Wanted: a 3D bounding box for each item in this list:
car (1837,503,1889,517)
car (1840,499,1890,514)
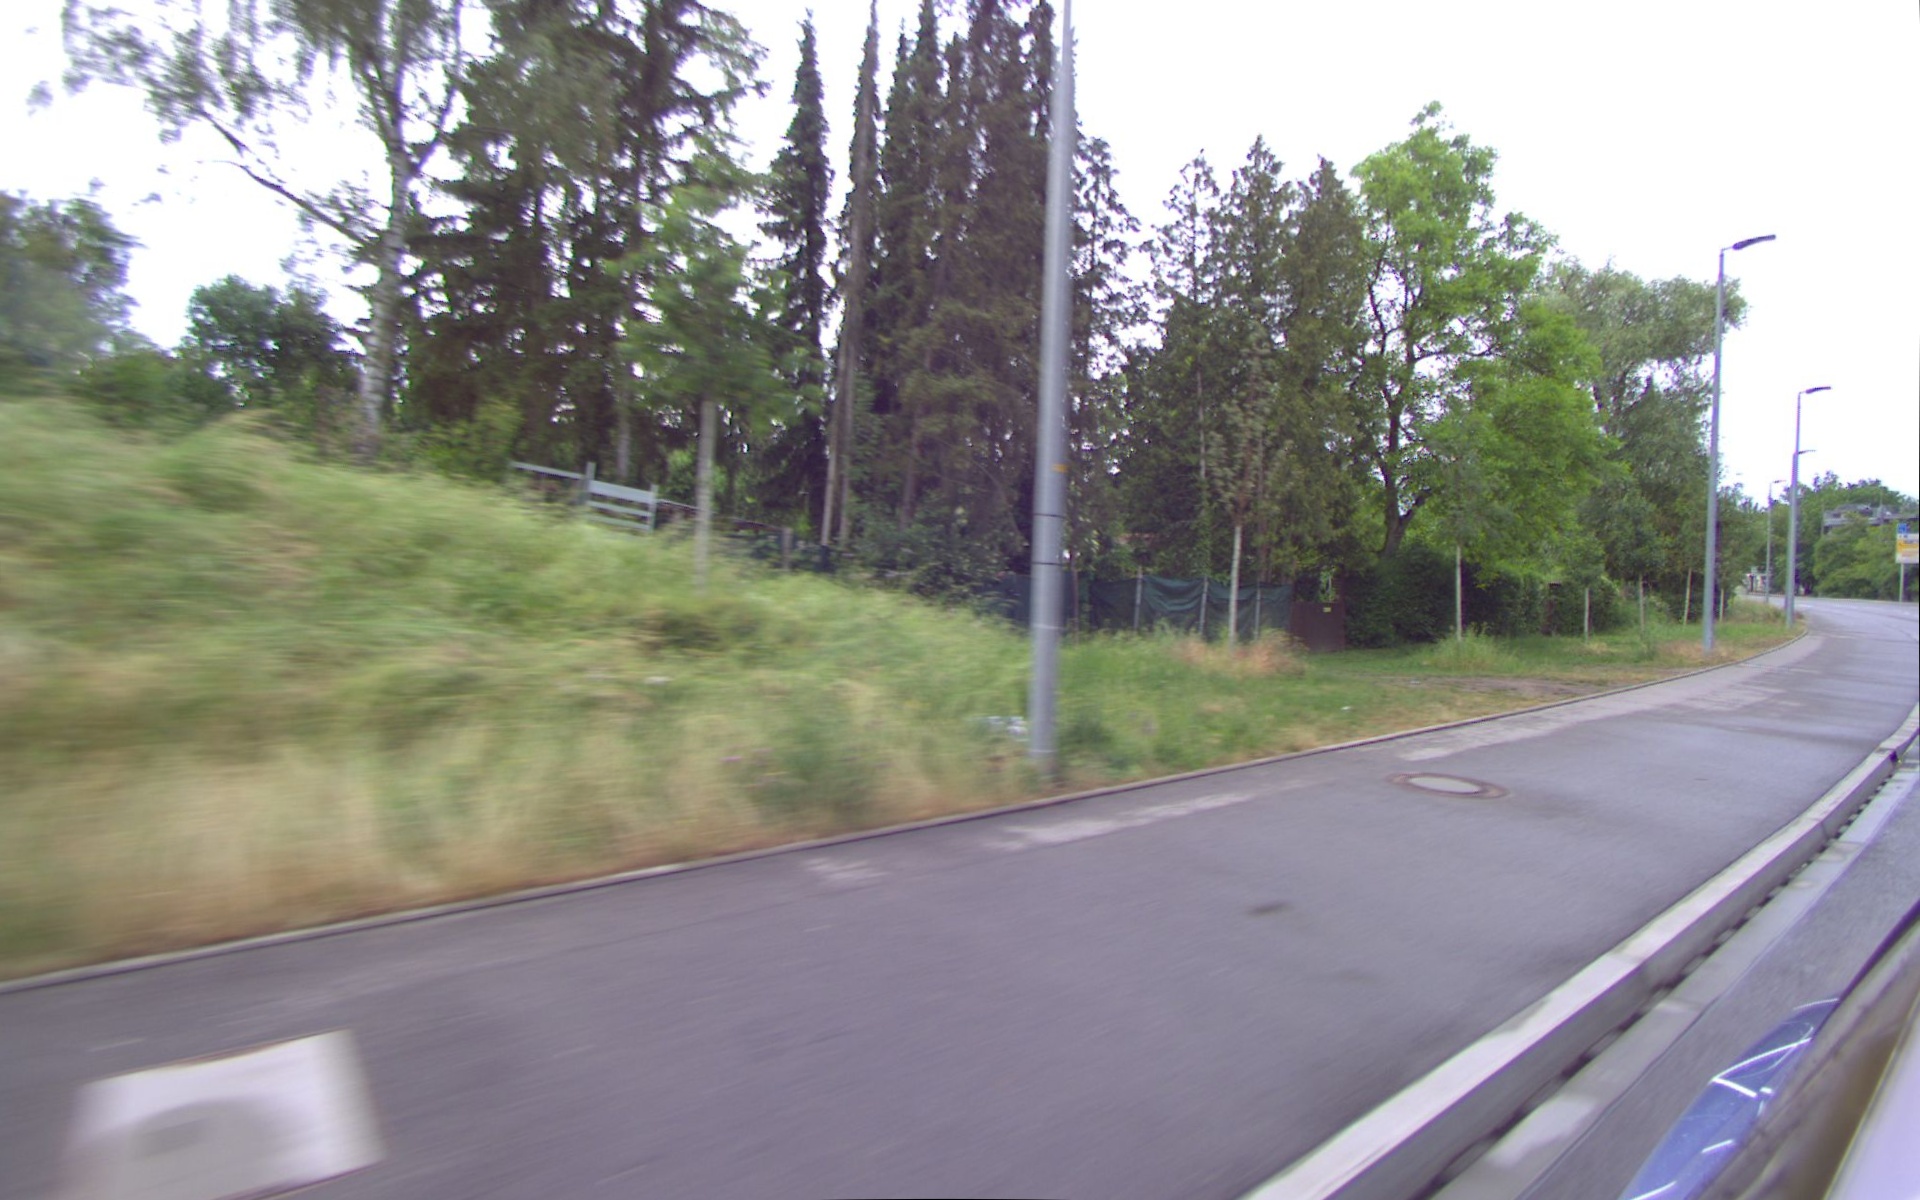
[{"bbox_3d":[102.084,-10.147,114.382,1.962,1.537,4.001,0,4,-36],"label":"car"},{"bbox_3d":[104.916,-10.803,117.343,1.962,1.537,4.001,0,4,-36],"label":"car"}]
